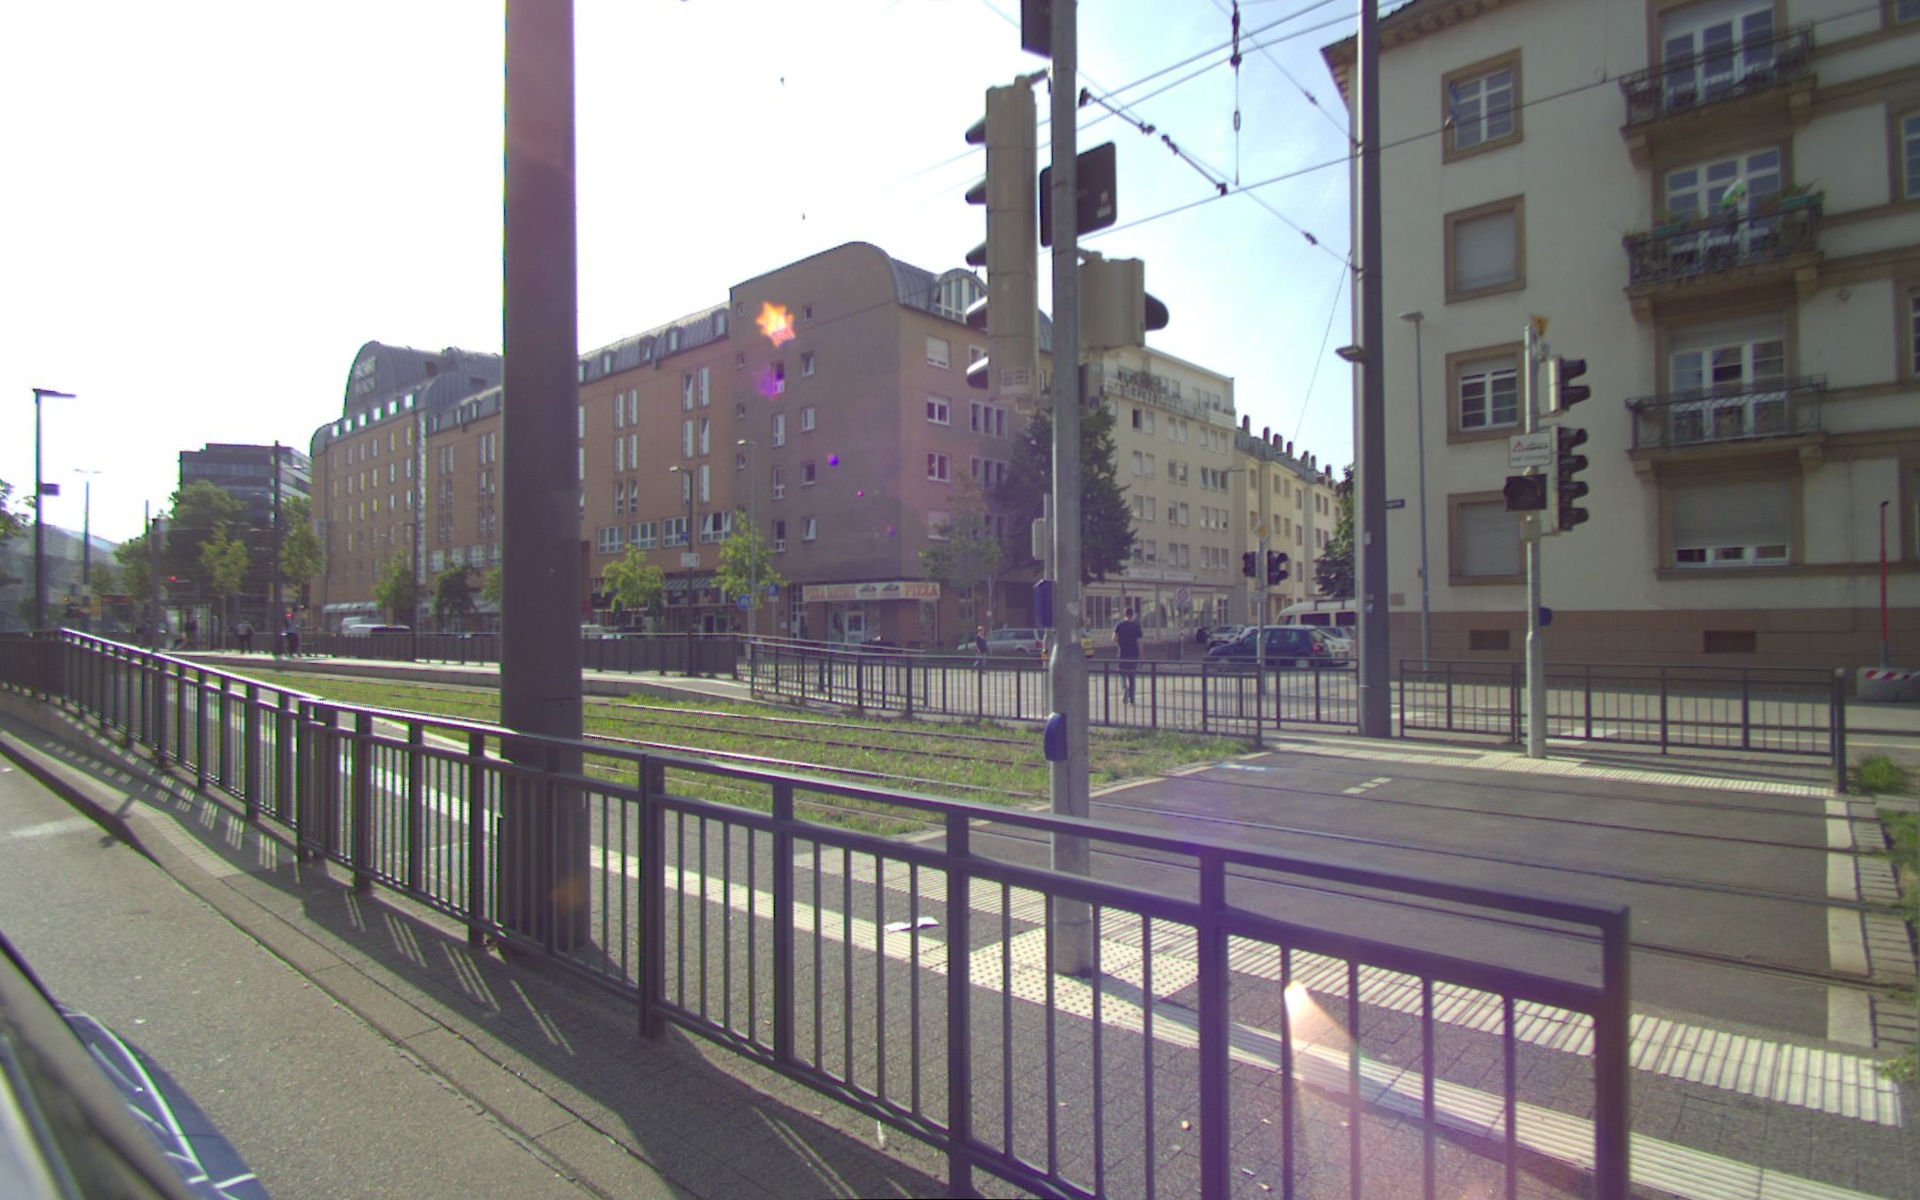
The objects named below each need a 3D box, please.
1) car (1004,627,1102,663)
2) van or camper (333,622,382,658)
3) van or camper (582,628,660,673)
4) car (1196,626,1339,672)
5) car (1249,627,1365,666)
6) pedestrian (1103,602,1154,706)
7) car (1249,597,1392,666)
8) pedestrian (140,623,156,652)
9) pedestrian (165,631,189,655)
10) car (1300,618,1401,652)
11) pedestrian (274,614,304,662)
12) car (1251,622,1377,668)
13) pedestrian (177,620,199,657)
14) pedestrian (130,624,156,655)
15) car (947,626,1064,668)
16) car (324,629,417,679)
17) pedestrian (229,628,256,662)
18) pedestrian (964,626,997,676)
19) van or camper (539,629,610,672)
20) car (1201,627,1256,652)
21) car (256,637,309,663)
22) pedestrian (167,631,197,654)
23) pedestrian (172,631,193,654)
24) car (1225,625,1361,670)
[{"bbox_3d":[4.197,2.025,45.785,3.995,1.519,1.974,-2,-2,39],"label":"car"},{"bbox_3d":[-49.716,3.274,83.506,5.351,2.823,1.972,-2,-2,42],"label":"van or camper"},{"bbox_3d":[-15.821,2.312,47.177,1.907,1.983,4.003,1,-2,-44],"label":"van or camper"},{"bbox_3d":[9.605,1.519,31.747,3.991,1.364,1.566,-2,-2,35],"label":"car"},{"bbox_3d":[13.361,1.771,39.024,3.918,1.426,1.658,-2,-2,36],"label":"car"},{"bbox_3d":[3.156,0.986,18.914,0.856,1.882,1.066,-1,-1,14],"label":"pedestrian"},{"bbox_3d":[14.374,1.284,40.491,5.041,2.603,1.977,-2,-2,34],"label":"car"},{"bbox_3d":[-50.976,2.340,63.521,0.698,1.773,0.644,-1,1,42],"label":"pedestrian"},{"bbox_3d":[-43.725,2.417,56.532,0.807,1.324,0.861,-2,-3,38],"label":"pedestrian"},{"bbox_3d":[17.253,1.550,44.774,3.888,1.426,1.658,-2,-2,36],"label":"car"},{"bbox_3d":[-26.366,1.489,39.768,0.939,1.886,0.731,-2,-2,41],"label":"pedestrian"},{"bbox_3d":[12.637,1.588,36.201,3.918,1.544,1.658,-2,-2,36],"label":"car"},{"bbox_3d":[-39.917,2.002,52.310,0.554,1.900,0.796,-2,-2,40],"label":"pedestrian"},{"bbox_3d":[-47.631,2.291,59.013,0.824,1.760,0.784,0,-3,5],"label":"pedestrian"},{"bbox_3d":[1.810,1.891,41.146,4.548,1.612,1.747,-2,-2,37],"label":"car"},{"bbox_3d":[-25.640,2.324,43.942,4.928,2.029,1.973,-2,-2,40],"label":"car"},{"bbox_3d":[-33.320,2.073,46.989,0.803,1.542,0.676,-1,-2,10],"label":"pedestrian"},{"bbox_3d":[0.676,1.661,33.252,0.807,1.595,0.671,-2,-2,38],"label":"pedestrian"},{"bbox_3d":[-19.478,2.523,51.038,1.970,2.029,4.003,1,-2,-44],"label":"van or camper"},{"bbox_3d":[15.664,2.263,58.874,1.825,1.386,3.952,-2,-2,35],"label":"car"},{"bbox_3d":[-49.573,3.638,73.975,4.627,1.819,1.973,-2,-3,40],"label":"car"},{"bbox_3d":[-41.926,2.280,54.519,0.675,1.255,1.141,-2,-3,40],"label":"pedestrian"},{"bbox_3d":[-42.368,2.299,55.133,0.675,1.255,0.783,-2,-3,40],"label":"pedestrian"},{"bbox_3d":[11.108,1.564,33.835,3.992,1.416,1.658,-2,-2,36],"label":"car"}]
